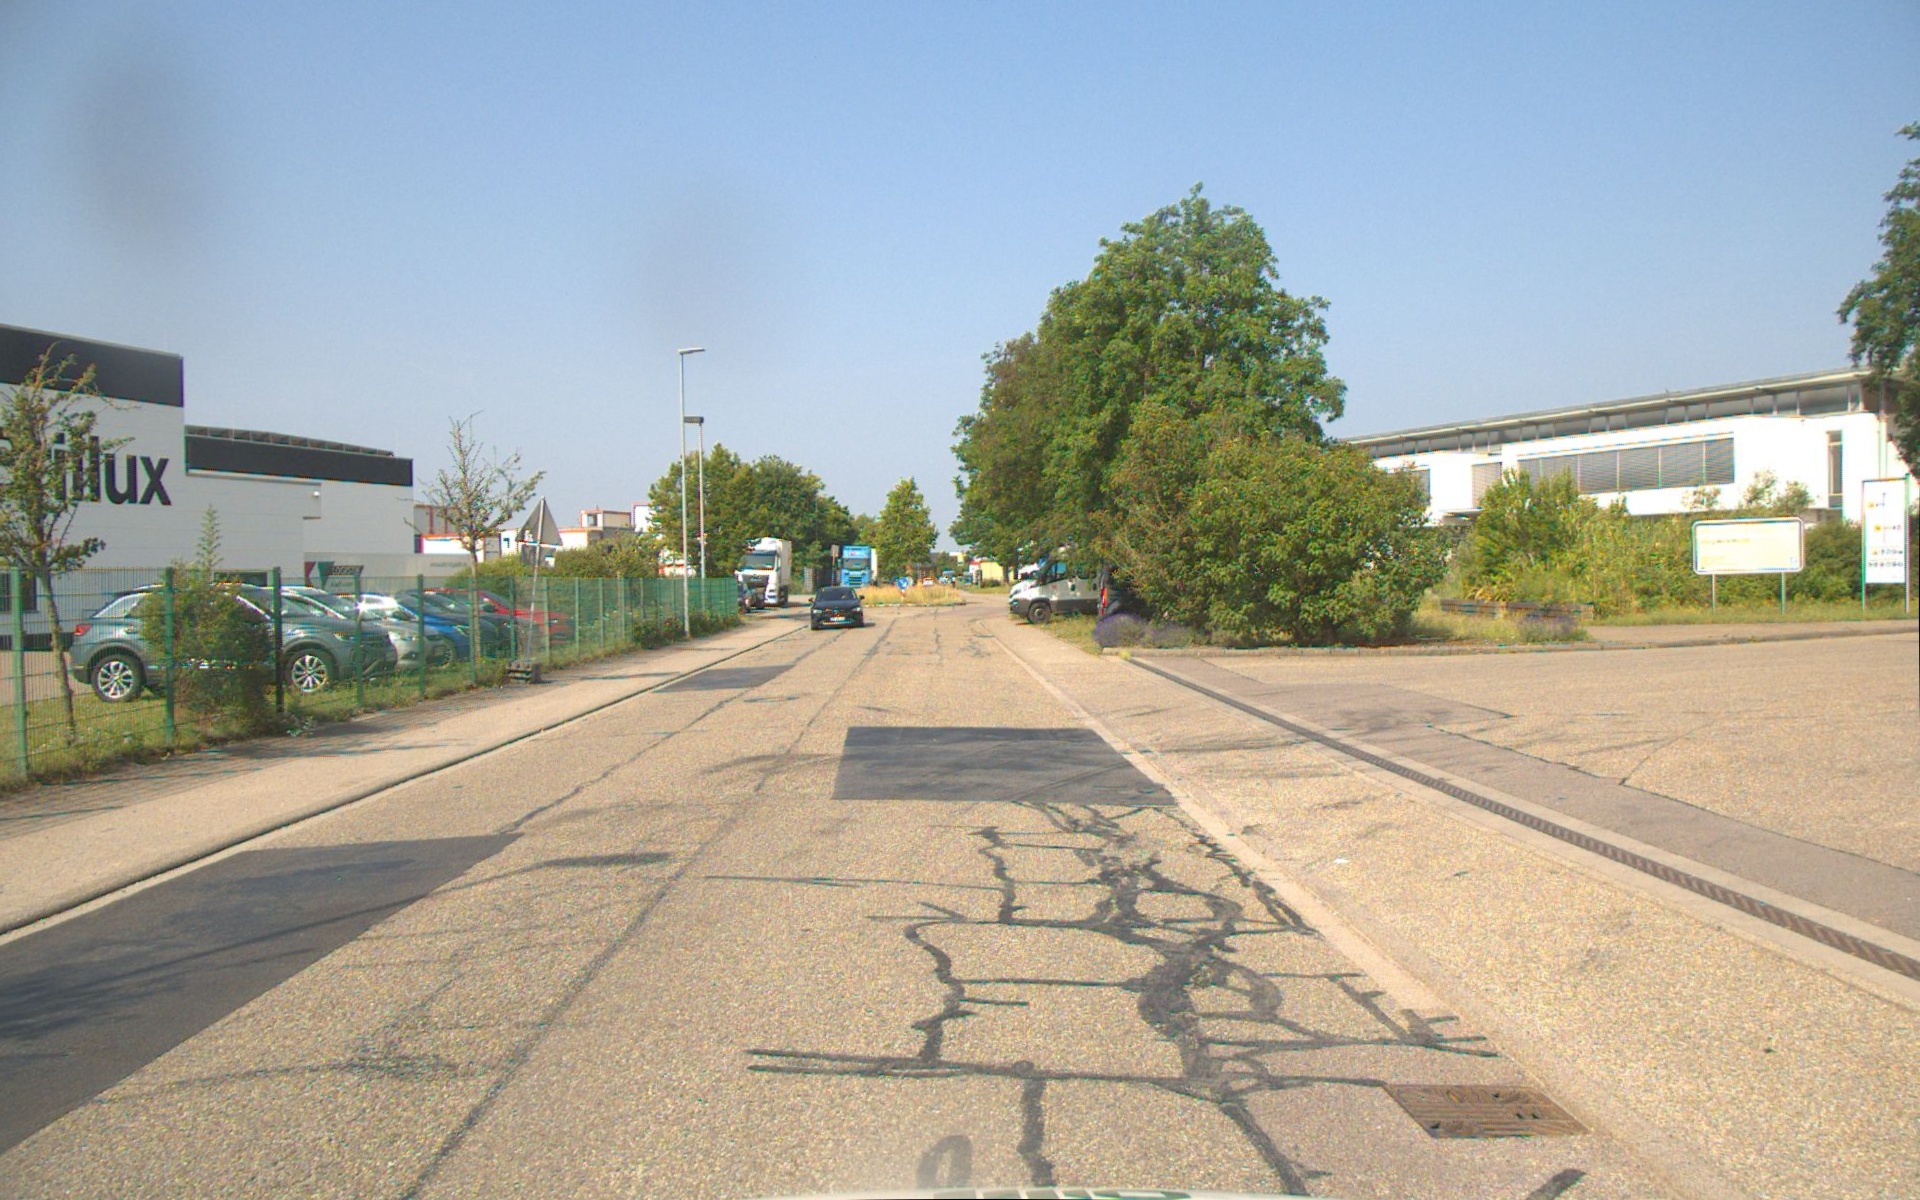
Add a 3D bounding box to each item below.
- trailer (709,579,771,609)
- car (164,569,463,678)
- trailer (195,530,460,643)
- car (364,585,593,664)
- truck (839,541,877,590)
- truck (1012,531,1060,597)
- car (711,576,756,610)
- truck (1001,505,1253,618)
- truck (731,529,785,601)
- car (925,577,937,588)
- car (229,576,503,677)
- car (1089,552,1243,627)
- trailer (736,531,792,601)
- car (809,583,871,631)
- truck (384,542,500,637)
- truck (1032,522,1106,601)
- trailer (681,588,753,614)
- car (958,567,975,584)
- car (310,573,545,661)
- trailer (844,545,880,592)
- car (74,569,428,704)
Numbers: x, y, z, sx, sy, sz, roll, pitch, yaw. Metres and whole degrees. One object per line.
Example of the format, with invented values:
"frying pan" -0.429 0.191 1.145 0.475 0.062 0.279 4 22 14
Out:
"trailer" -11.706 -0.348 88.245 2.626 1.479 5.077 0 1 0
"car" -10.220 0.345 26.365 3.959 1.469 1.873 -3 1 -2
"trailer" -25.235 -0.454 67.323 2.429 4.112 13.899 1 0 14
"car" -10.573 0.516 36.572 4.445 1.469 1.951 -3 1 -2
"truck" -8.514 -2.843 139.400 2.768 3.892 9.669 1 0 -1
"truck" 4.958 -2.347 108.884 2.690 4.050 3.999 -4 1 -1
"car" -11.228 -0.391 82.160 1.661 1.588 4.335 1 1 -1
"truck" 5.534 -1.267 55.626 8.044 3.429 2.740 -2 0 -2
"truck" -11.549 -1.948 94.804 2.654 3.990 4.295 1 0 -2
"car" -4.415 -2.686 252.020 1.684 1.690 3.821 1 0 -3
"car" -10.130 0.424 28.431 3.959 1.469 1.873 -3 1 -2
"car" 5.555 -0.286 44.989 3.905 1.870 2.000 -2 1 0
"trailer" -11.677 -1.947 99.131 2.645 3.990 7.572 1 0 -2
"car" -4.117 0.225 57.417 1.954 1.474 4.417 -4 1 -3
"truck" -23.352 -0.459 74.842 2.459 4.142 5.548 1 0 14
"truck" 5.466 -1.848 84.947 2.830 3.596 9.754 -5 0 0
"trailer" -11.010 0.013 75.366 2.496 0.941 6.707 2 1 -2
"car" 0.692 -2.647 180.248 1.756 1.780 3.998 1 0 -2
"car" -10.398 0.309 32.526 3.959 1.469 1.873 -3 1 -2
"trailer" -8.778 -2.756 148.949 2.774 3.910 12.032 1 0 -1
"car" -9.791 0.471 23.091 4.044 1.595 1.864 -3 1 -2
